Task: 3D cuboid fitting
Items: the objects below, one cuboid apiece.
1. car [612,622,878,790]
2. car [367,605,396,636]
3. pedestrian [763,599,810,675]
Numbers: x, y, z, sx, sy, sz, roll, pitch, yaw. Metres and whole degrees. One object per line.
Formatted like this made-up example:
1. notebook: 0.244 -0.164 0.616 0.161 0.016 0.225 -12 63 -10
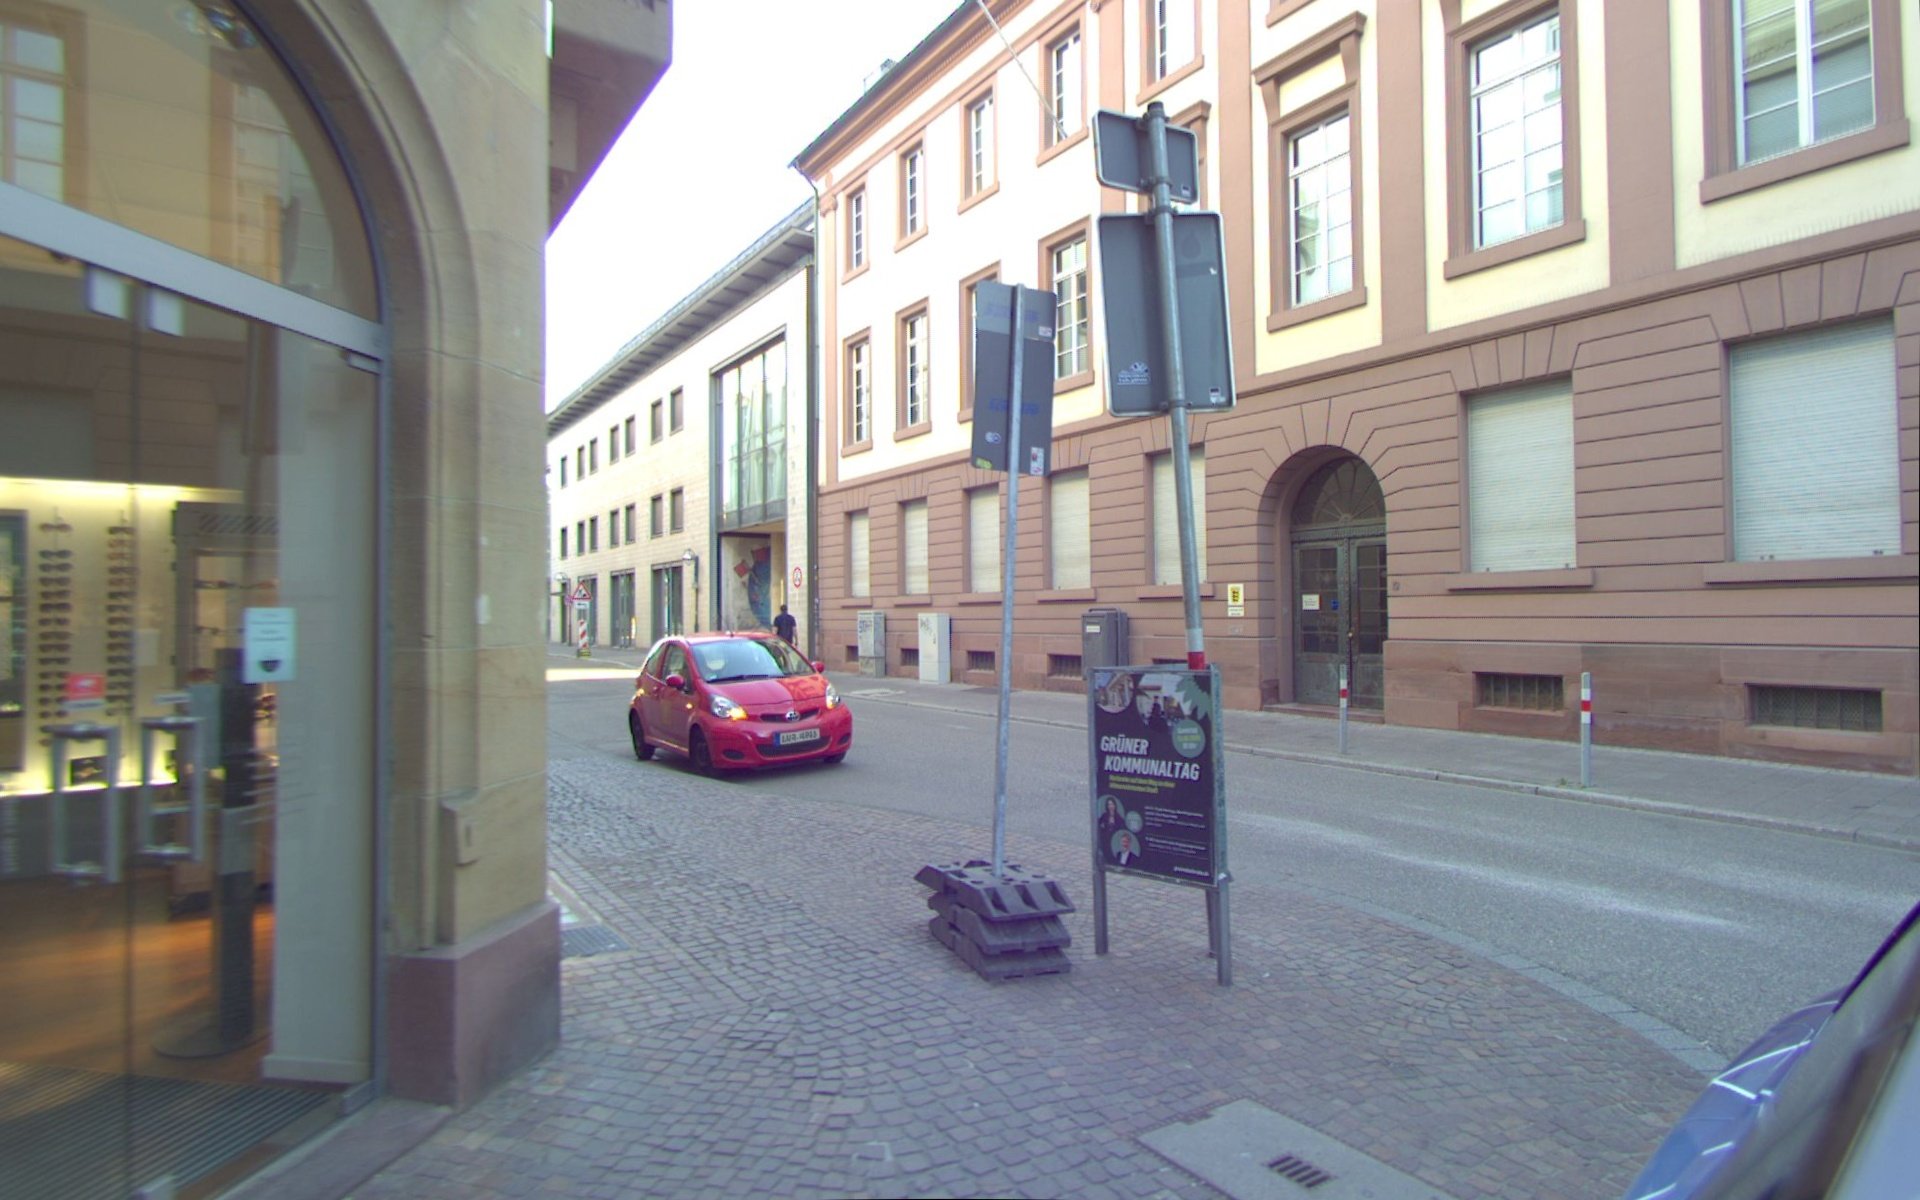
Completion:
1. car: -2.611 1.028 11.514 1.619 1.460 4.001 -3 1 -32
2. car: -44.643 1.576 78.161 1.902 2.334 4.003 0 -1 -30
3. pedestrian: -4.231 0.890 24.595 0.910 1.801 0.942 0 -1 -24
